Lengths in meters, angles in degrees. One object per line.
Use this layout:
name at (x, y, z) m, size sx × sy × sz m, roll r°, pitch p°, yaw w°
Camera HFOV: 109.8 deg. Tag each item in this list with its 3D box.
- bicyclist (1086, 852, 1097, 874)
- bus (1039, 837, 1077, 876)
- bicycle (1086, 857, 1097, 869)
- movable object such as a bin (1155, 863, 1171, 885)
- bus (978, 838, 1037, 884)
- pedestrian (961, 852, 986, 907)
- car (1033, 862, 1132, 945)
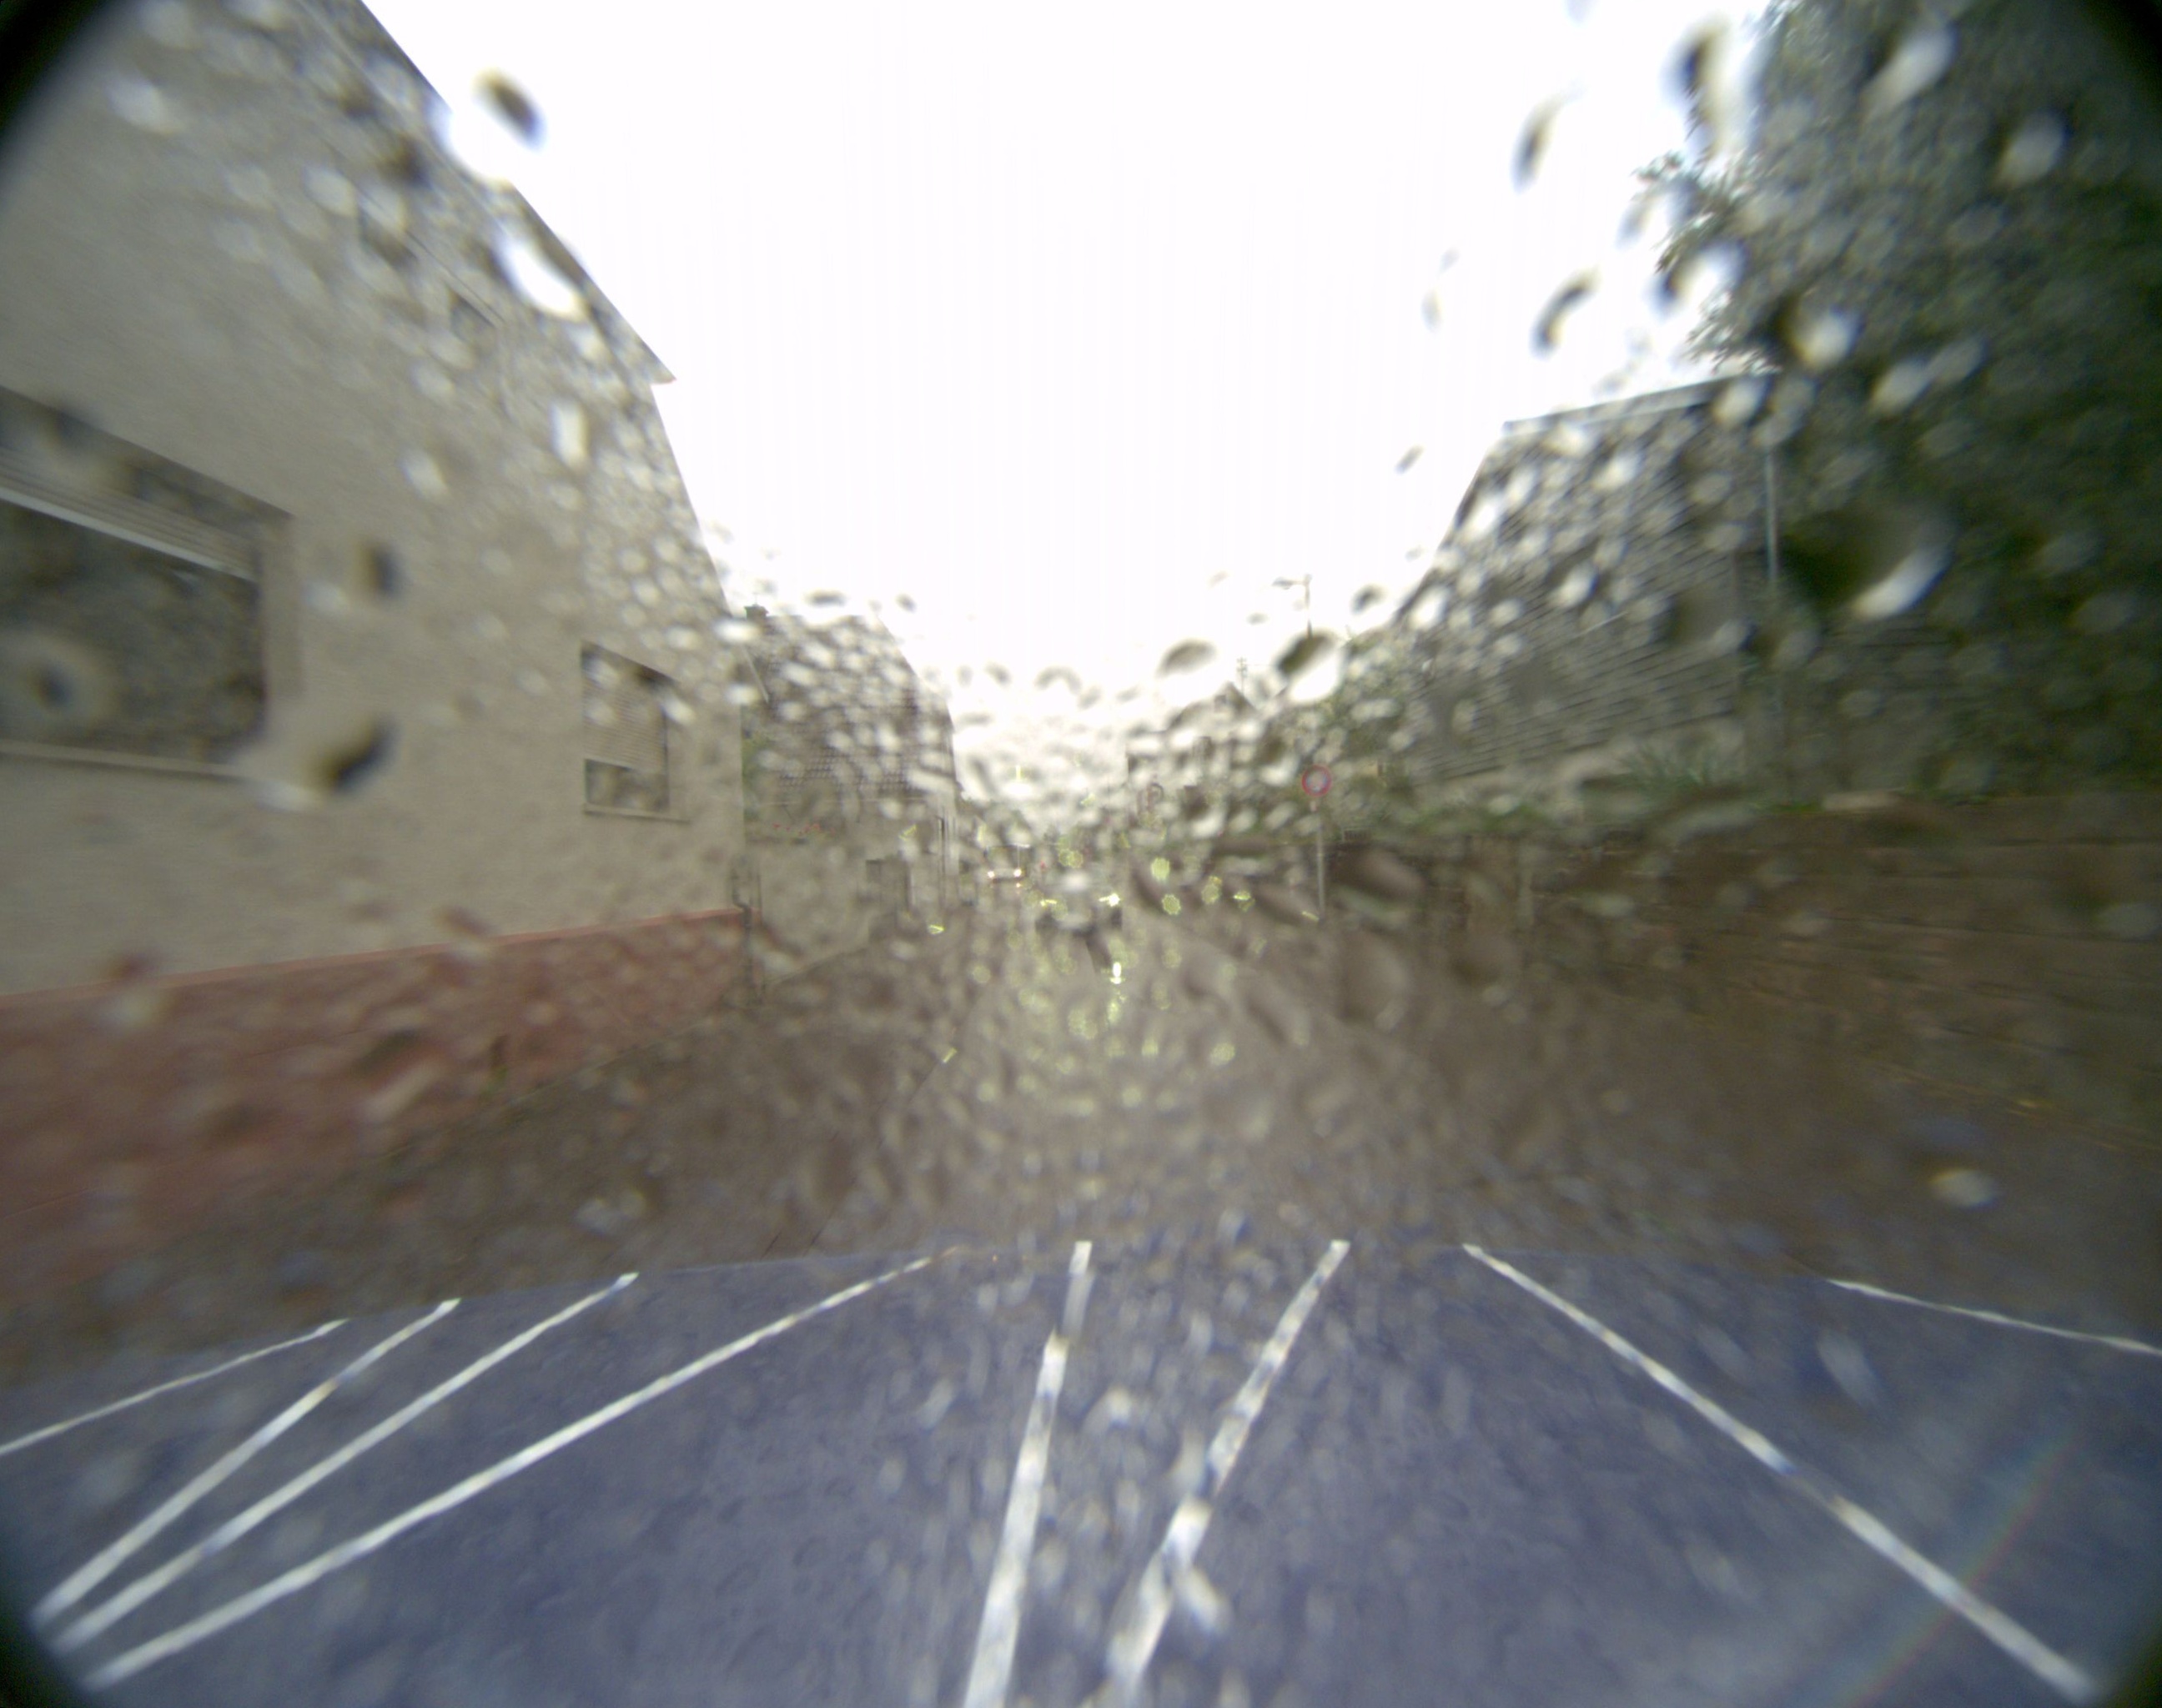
bicyclist at (0.872, 0.780, 62.855) m, size 0.658 × 1.759 × 0.703 m, roll -4°, pitch -1°, yaw -5°
bus at (-1.918, 0.197, 66.794) m, size 2.814 × 2.922 × 11.940 m, roll -4°, pitch 0°, yaw -1°
bicycle at (0.874, 0.741, 62.819) m, size 0.663 × 0.865 × 1.934 m, roll -4°, pitch -2°, yaw -5°
movable object such as a bin at (3.616, 0.872, 33.574) m, size 0.539 × 0.925 × 0.544 m, roll -4°, pitch 1°, yaw -7°
bus at (-6.043, 0.490, 65.439) m, size 3.441 × 3.391 × 13.870 m, roll -3°, pitch 0°, yaw 0°
pedestrian at (-3.474, 0.799, 24.616) m, size 0.696 × 1.722 × 0.820 m, roll -3°, pitch 1°, yaw -5°
car at (-0.102, 0.978, 16.711) m, size 1.780 × 1.349 × 4.185 m, roll -3°, pitch 2°, yaw -5°
